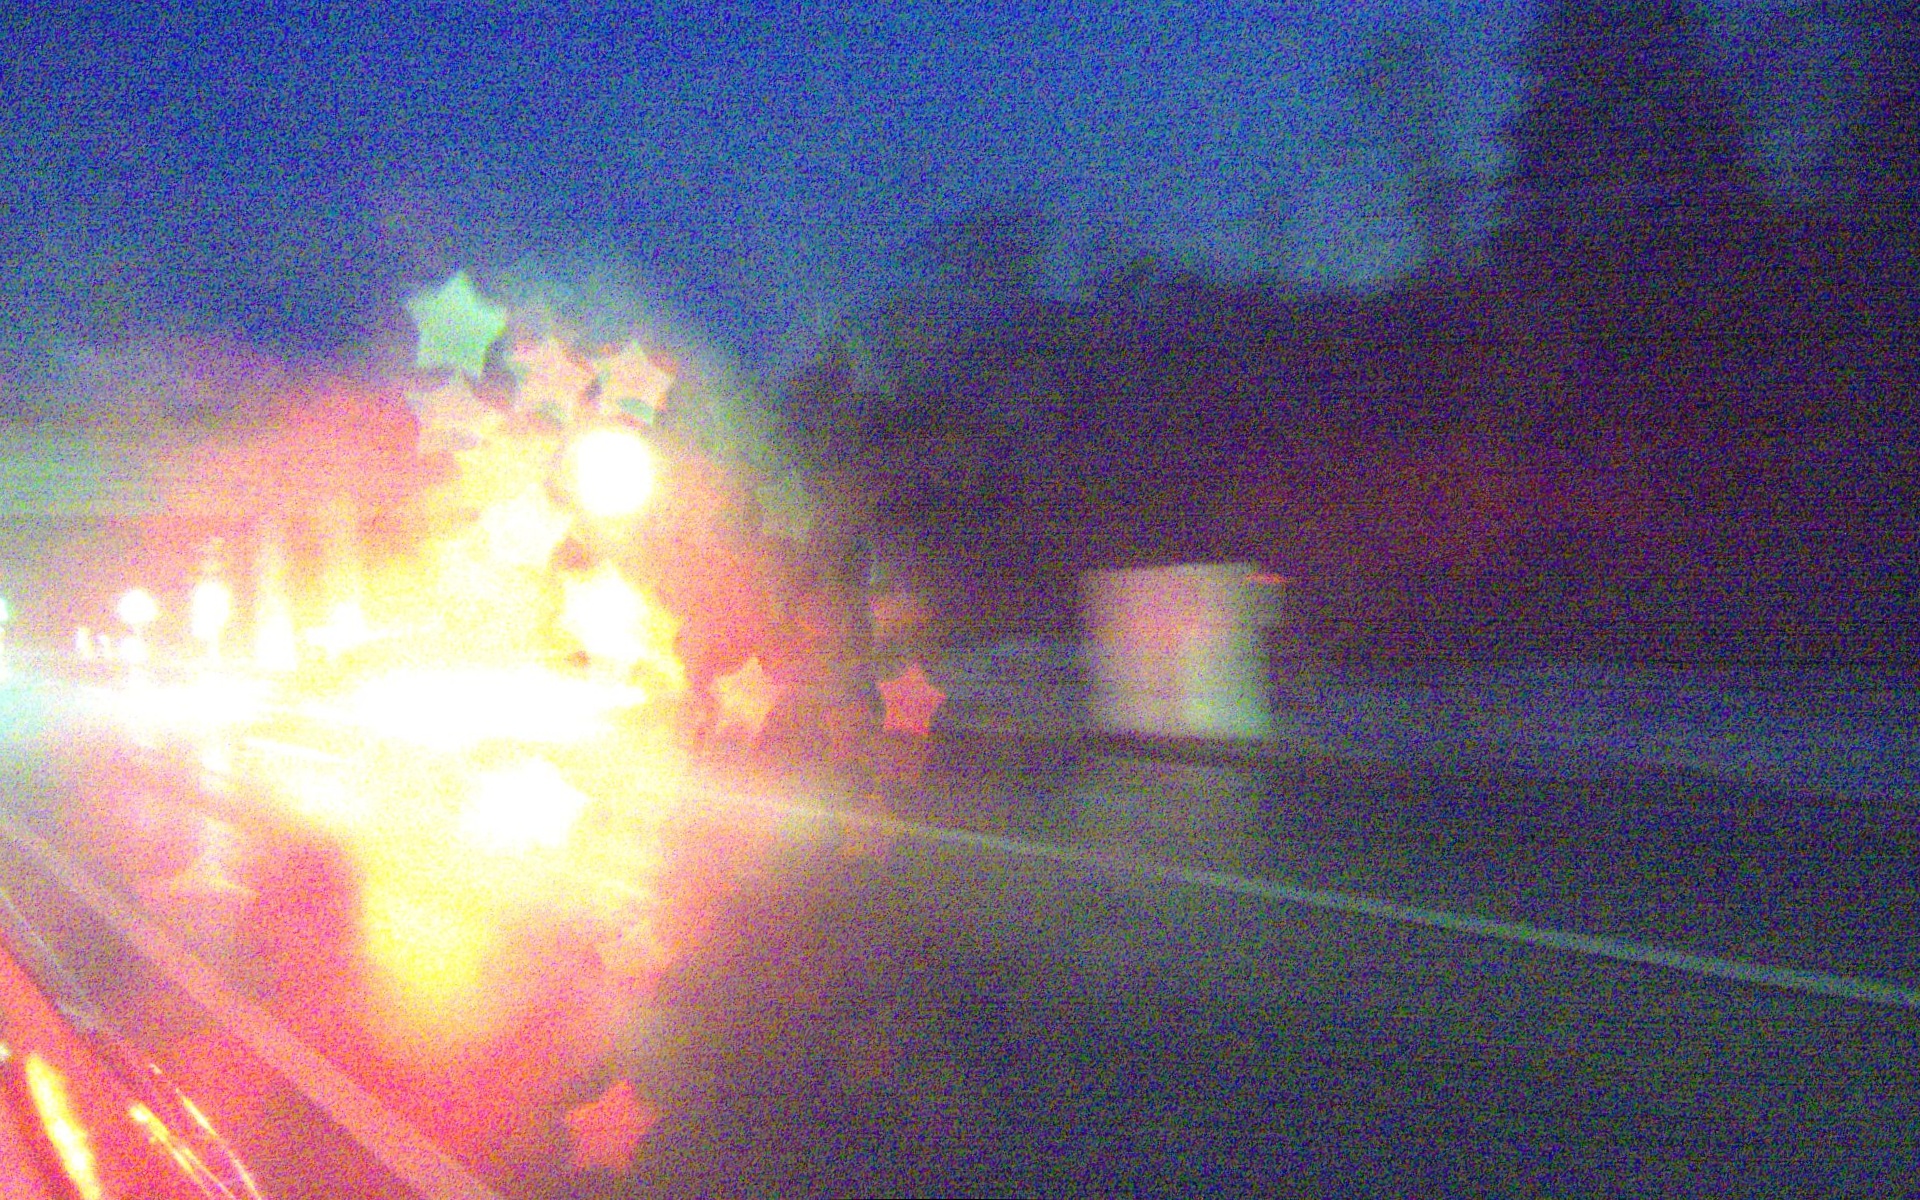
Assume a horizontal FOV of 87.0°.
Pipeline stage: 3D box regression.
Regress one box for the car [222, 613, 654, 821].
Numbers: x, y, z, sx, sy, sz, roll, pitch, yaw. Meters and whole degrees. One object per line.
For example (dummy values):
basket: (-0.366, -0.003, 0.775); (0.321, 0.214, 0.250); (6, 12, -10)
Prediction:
car: (-5.062, 0.897, 9.498); (4.662, 1.428, 1.973); (-2, 0, 40)
